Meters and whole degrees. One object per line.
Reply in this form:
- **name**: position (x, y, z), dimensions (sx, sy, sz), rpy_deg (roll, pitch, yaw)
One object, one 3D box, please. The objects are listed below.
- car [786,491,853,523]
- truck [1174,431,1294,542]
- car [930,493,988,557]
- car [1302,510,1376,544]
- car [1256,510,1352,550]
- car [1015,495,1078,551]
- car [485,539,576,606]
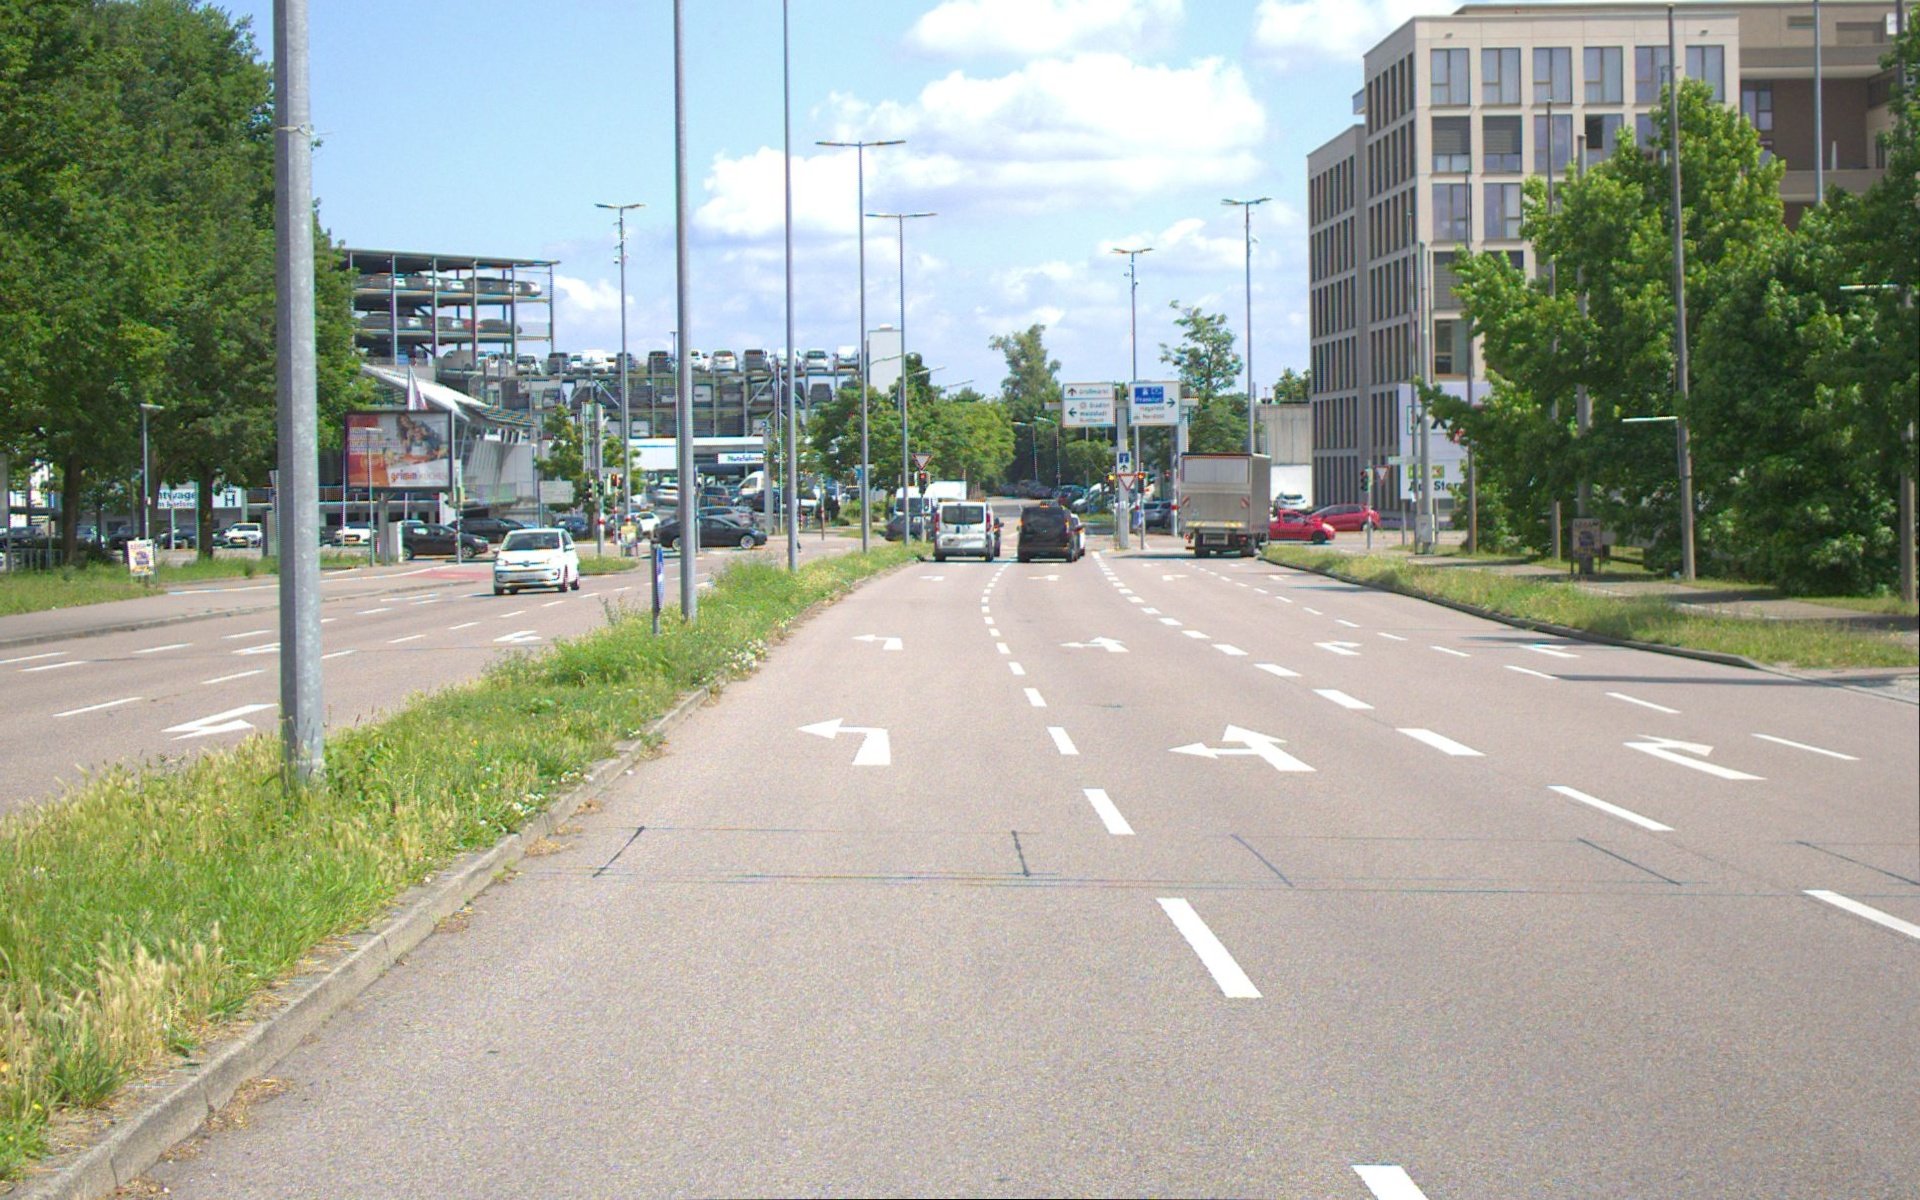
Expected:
- **car**: position (-8.480, -5.625, 207.858), dimensions (3.986, 1.919, 1.827), rpy_deg (0, 1, -4)
- **truck**: position (10.140, -4.216, 126.350), dimensions (3.131, 3.927, 8.854), rpy_deg (0, 2, 13)
- **car**: position (-0.039, -2.480, 112.905), dimensions (1.856, 2.011, 4.001), rpy_deg (0, 2, 0)
- **car**: position (17.724, -3.419, 160.748), dimensions (3.272, 1.400, 1.334), rpy_deg (0, 11, 0)
- **car**: position (14.619, -2.971, 145.976), dimensions (3.988, 1.656, 2.000), rpy_deg (0, 2, 9)
- **car**: position (2.850, -2.531, 112.273), dimensions (1.820, 1.802, 4.000), rpy_deg (1, 2, 5)
- **car**: position (-9.737, -0.643, 78.118), dimensions (1.643, 1.424, 3.671), rpy_deg (-2, 1, -1)
